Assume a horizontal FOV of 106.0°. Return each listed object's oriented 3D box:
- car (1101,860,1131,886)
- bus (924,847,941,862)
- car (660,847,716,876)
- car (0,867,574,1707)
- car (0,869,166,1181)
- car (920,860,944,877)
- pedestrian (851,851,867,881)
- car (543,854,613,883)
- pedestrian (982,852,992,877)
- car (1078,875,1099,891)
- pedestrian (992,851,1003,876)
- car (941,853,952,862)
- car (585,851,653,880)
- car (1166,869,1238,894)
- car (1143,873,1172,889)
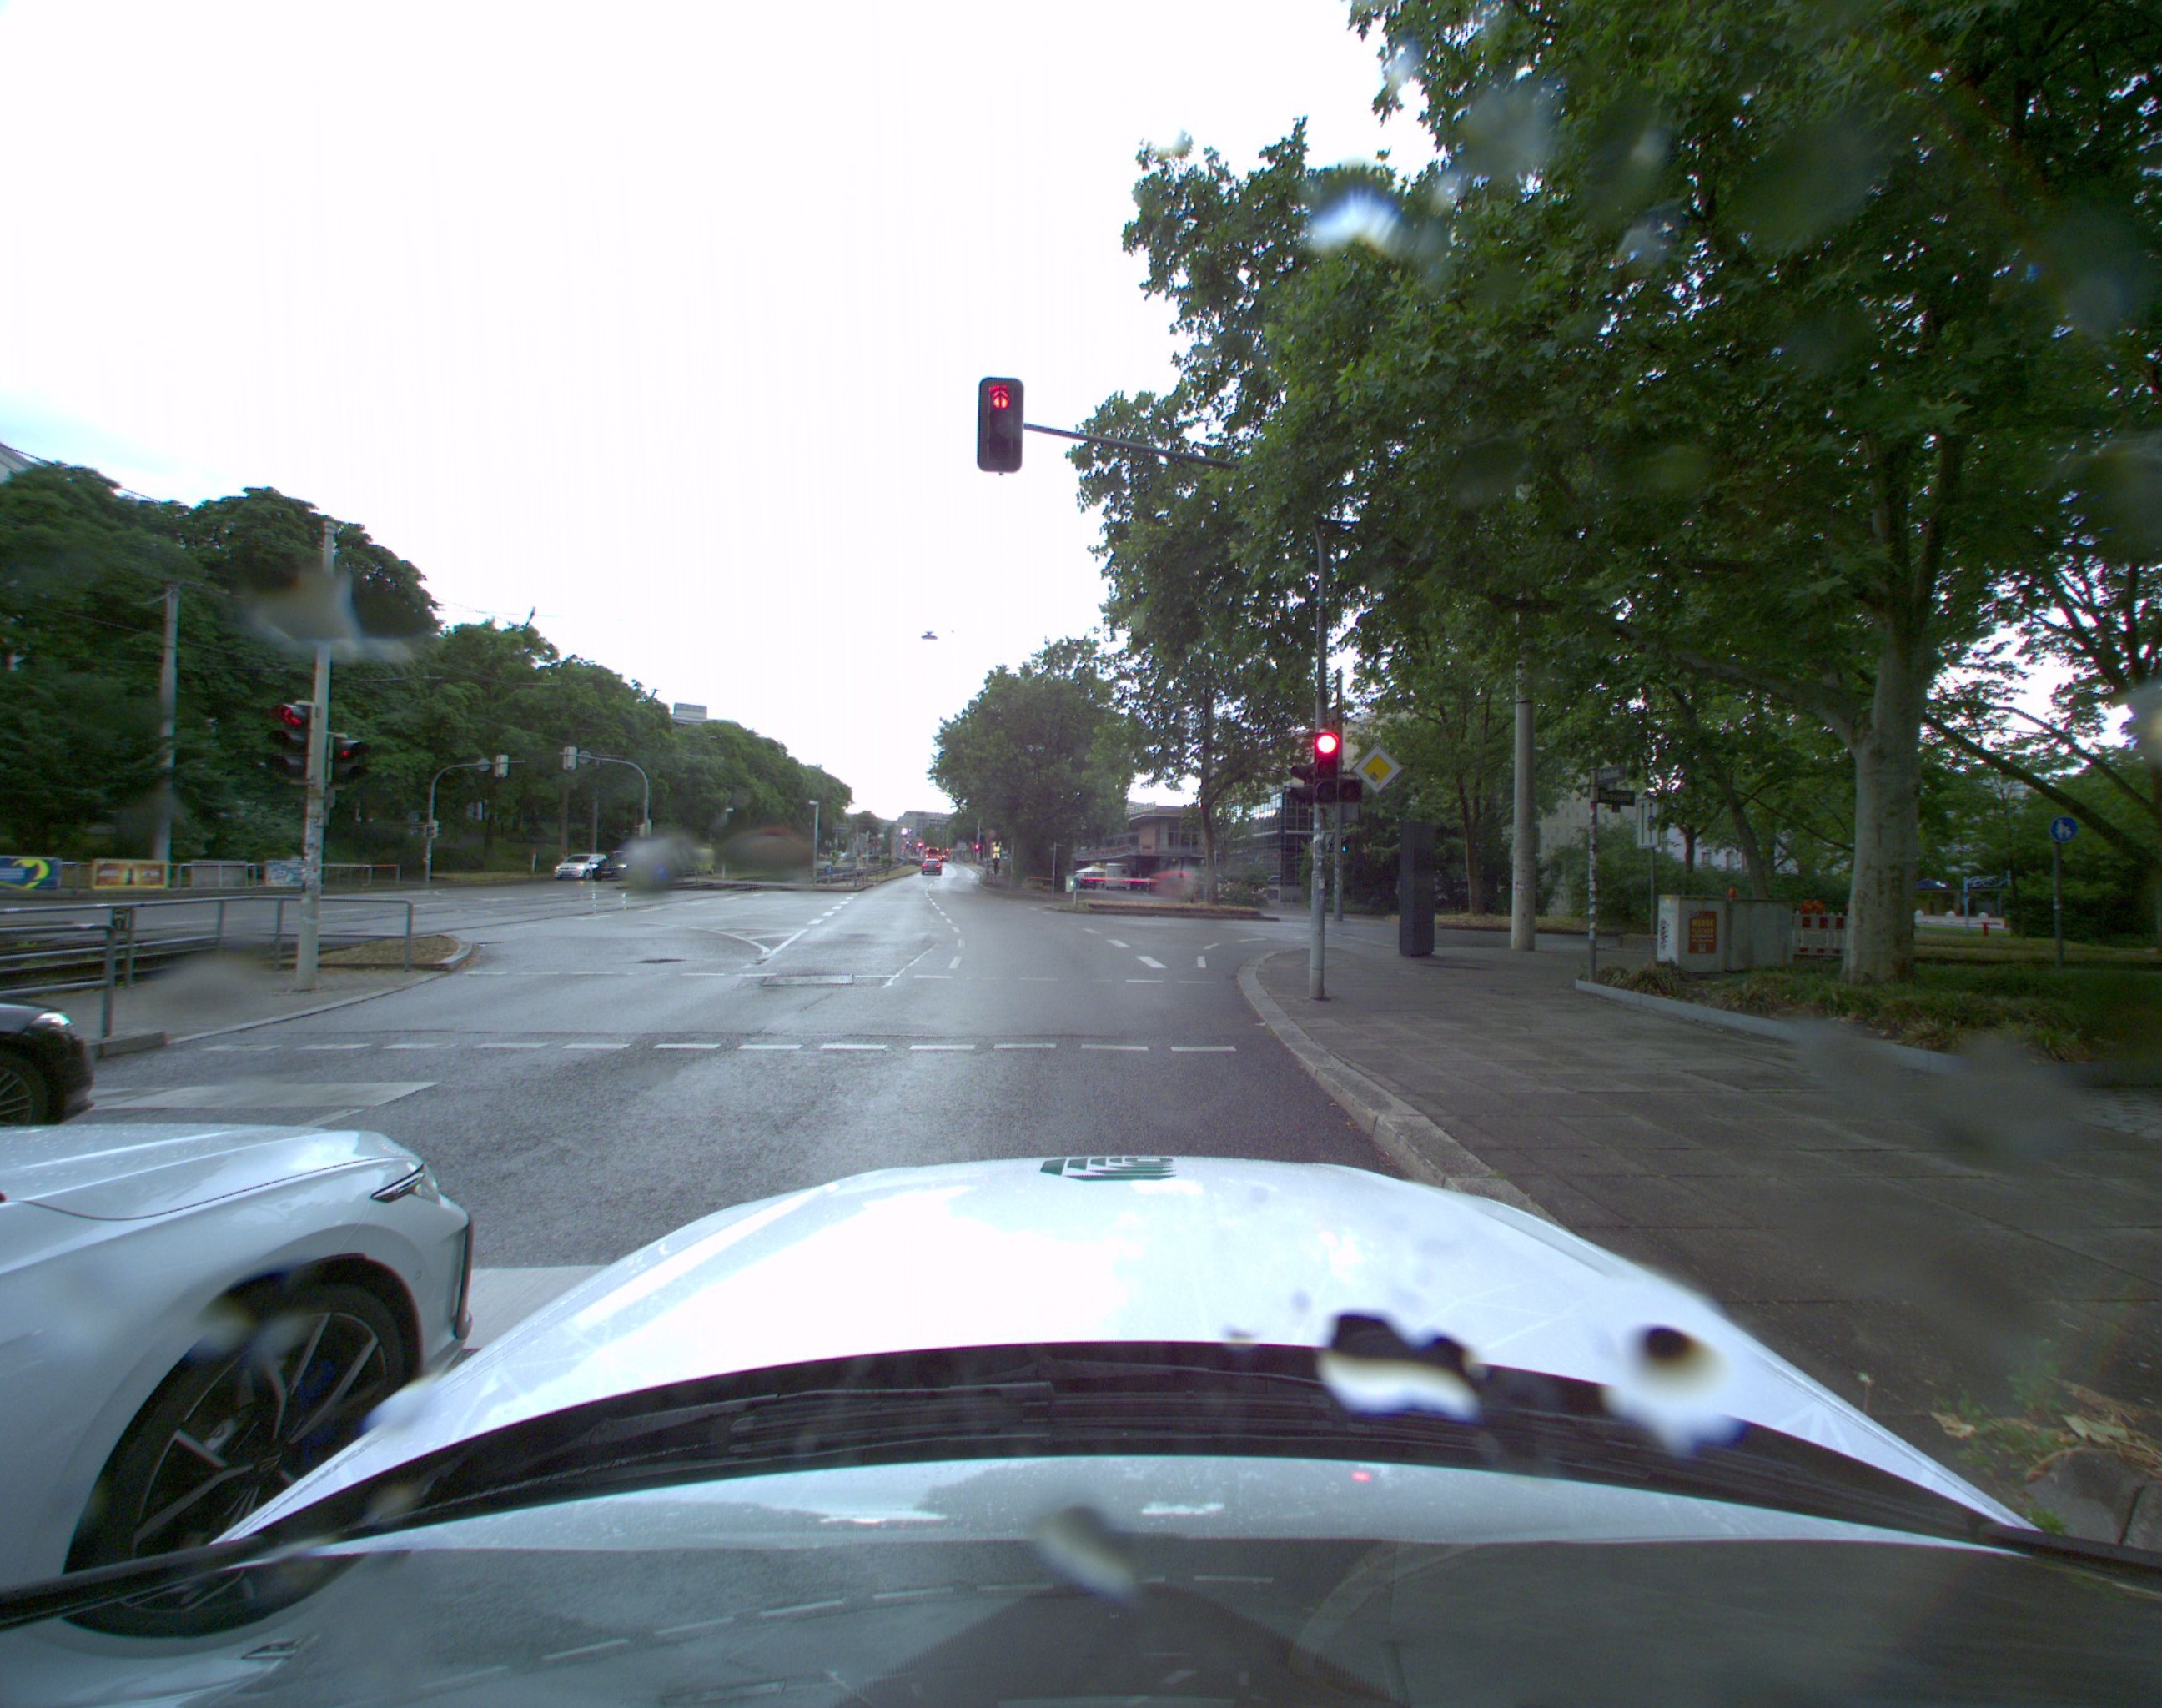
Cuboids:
[{"bbox_3d":[3.863,2.080,91.466,2.725,2.695,6.916,2,0,-2],"label":"car"},{"bbox_3d":[-32.443,0.113,177.478,3.591,3.171,10.381,0,-1,-11],"label":"bus"},{"bbox_3d":[-26.596,0.547,55.251,1.917,1.851,4.558,1,-1,-5],"label":"car"},{"bbox_3d":[-2.520,0.751,0.268,1.789,1.442,4.477,0,0,2],"label":"car"},{"bbox_3d":[-5.969,0.792,2.222,1.789,1.442,4.477,0,0,2],"label":"car"},{"bbox_3d":[-13.556,1.282,74.214,1.993,1.519,4.336,0,-1,-9],"label":"car"},{"bbox_3d":[-13.275,0.707,48.713,0.870,1.802,0.864,2,-1,-14],"label":"pedestrian"},{"bbox_3d":[-29.005,0.828,47.093,1.917,1.546,3.674,1,-1,-5],"label":"car"},{"bbox_3d":[-7.771,0.844,67.372,0.813,2.014,1.075,0,-1,-6],"label":"pedestrian"},{"bbox_3d":[0.854,3.067,88.069,2.010,1.551,4.355,2,0,4],"label":"car"},{"bbox_3d":[-6.964,0.785,67.854,0.873,2.014,1.075,0,-1,-6],"label":"pedestrian"},{"bbox_3d":[-30.128,0.813,182.394,2.364,1.817,5.164,0,-1,-11],"label":"car"},{"bbox_3d":[-25.721,0.659,45.478,1.917,1.546,3.674,1,-1,-5],"label":"car"},{"bbox_3d":[9.271,2.122,62.119,5.221,1.731,1.860,2,-1,-23],"label":"car"},{"bbox_3d":[8.292,2.910,89.104,2.020,1.551,4.334,2,0,-10],"label":"car"}]
